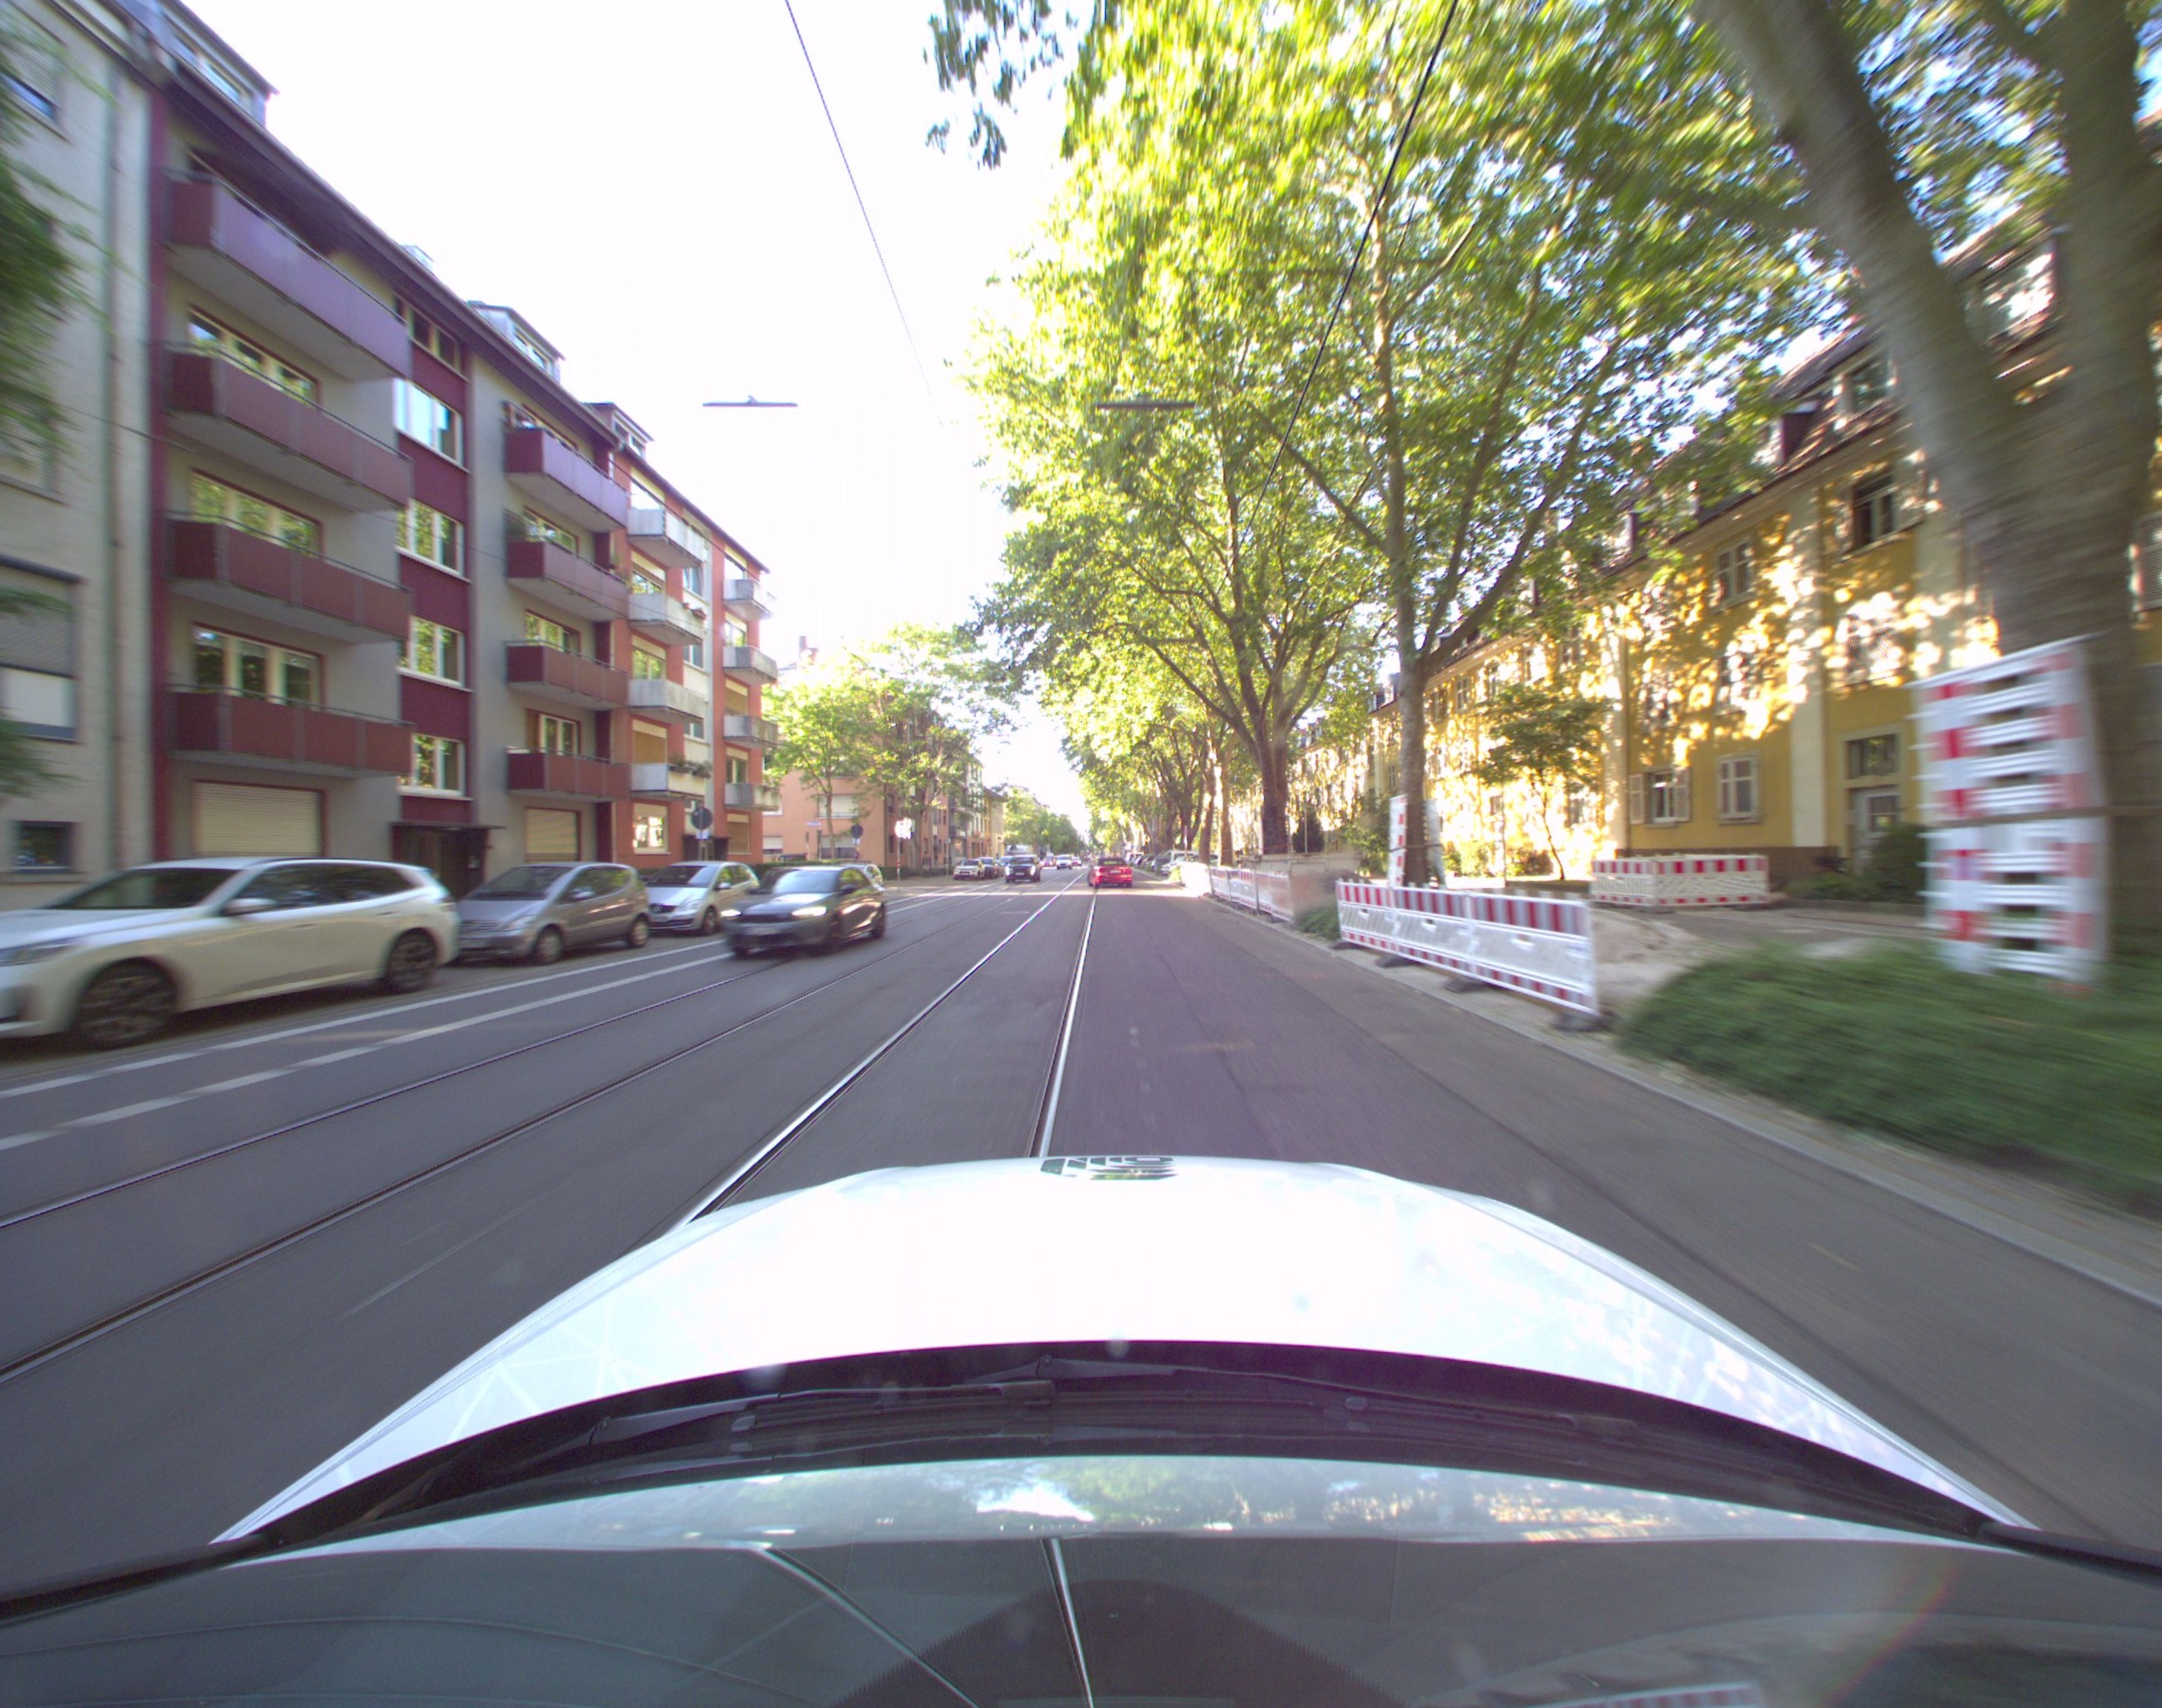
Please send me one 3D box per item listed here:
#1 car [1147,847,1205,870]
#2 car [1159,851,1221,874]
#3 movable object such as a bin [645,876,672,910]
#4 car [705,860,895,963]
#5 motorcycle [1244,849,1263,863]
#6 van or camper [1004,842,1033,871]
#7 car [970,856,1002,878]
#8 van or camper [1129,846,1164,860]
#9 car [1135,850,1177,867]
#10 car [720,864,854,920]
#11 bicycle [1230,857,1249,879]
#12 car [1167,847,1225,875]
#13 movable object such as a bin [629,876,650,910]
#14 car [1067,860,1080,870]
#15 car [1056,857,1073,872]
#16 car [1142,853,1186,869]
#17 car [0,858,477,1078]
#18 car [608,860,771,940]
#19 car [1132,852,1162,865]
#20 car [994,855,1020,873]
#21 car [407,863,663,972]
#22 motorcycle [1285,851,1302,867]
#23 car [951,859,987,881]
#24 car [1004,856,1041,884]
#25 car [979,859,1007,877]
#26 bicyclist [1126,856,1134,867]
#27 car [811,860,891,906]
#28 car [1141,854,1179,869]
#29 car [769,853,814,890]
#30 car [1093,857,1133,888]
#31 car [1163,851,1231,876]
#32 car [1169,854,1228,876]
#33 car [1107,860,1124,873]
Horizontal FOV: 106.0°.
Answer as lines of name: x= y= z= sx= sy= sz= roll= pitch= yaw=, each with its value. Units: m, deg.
car: x=8.384 y=0.404 z=71.926 sx=4.822 sy=1.963 sz=2.064 roll=-1 pitch=0 yaw=-1
car: x=7.782 y=0.600 z=58.461 sx=4.350 sy=1.542 sz=1.804 roll=-1 pitch=1 yaw=5
movable object such as a bin: x=-12.768 y=1.173 z=24.621 sx=0.541 sy=1.006 sz=0.442 roll=-2 pitch=0 yaw=3
car: x=-4.740 y=0.893 z=14.405 sx=1.789 sy=1.446 sz=4.054 roll=-2 pitch=0 yaw=2
motorcycle: x=18.784 y=0.212 z=88.556 sx=1.798 sy=1.361 sz=0.622 roll=-4 pitch=0 yaw=-2
van or camper: x=-6.838 y=0.235 z=89.971 sx=2.328 sy=3.041 sz=6.401 roll=2 pitch=0 yaw=2
car: x=-7.301 y=0.968 z=62.938 sx=1.775 sy=1.610 sz=4.588 roll=2 pitch=0 yaw=0
van or camper: x=10.839 y=-0.172 z=135.387 sx=5.543 sy=2.013 sz=2.242 roll=-1 pitch=2 yaw=-4
car: x=8.395 y=0.507 z=91.201 sx=4.475 sy=1.602 sz=2.030 roll=-3 pitch=-1 yaw=5
car: x=-8.449 y=1.033 z=23.956 sx=1.944 sy=1.395 sz=4.866 roll=1 pitch=0 yaw=2
bicycle: x=8.401 y=0.726 z=43.203 sx=0.688 sy=1.154 sz=1.949 roll=-1 pitch=0 yaw=2
car: x=7.929 y=0.482 z=56.432 sx=3.826 sy=1.772 sz=1.919 roll=-1 pitch=0 yaw=5
movable object such as a bin: x=-13.318 y=1.181 z=24.562 sx=0.431 sy=1.006 sz=0.352 roll=-2 pitch=0 yaw=3
car: x=-1.153 y=1.714 z=127.387 sx=1.769 sy=1.458 sz=4.203 roll=-2 pitch=0 yaw=1
car: x=-2.070 y=1.325 z=102.097 sx=1.885 sy=1.832 sz=4.896 roll=-1 pitch=0 yaw=1
car: x=8.240 y=0.679 z=80.833 sx=4.232 sy=1.483 sz=1.898 roll=-1 pitch=0 yaw=1
car: x=-9.118 y=0.875 z=8.484 sx=1.946 sy=1.648 sz=4.881 roll=0 pitch=0 yaw=0
car: x=-8.783 y=0.961 z=18.702 sx=1.814 sy=1.587 sz=4.004 roll=0 pitch=0 yaw=-1
car: x=8.957 y=0.639 z=111.338 sx=3.911 sy=1.670 sz=1.960 roll=-1 pitch=0 yaw=-1
car: x=-6.993 y=0.919 z=77.707 sx=1.946 sy=1.686 sz=5.071 roll=1 pitch=0 yaw=0
car: x=-8.933 y=0.943 z=13.773 sx=1.619 sy=1.572 sz=3.784 roll=0 pitch=0 yaw=3
motorcycle: x=15.111 y=0.349 z=57.960 sx=0.712 sy=1.153 sz=2.265 roll=-2 pitch=0 yaw=2
car: x=-7.827 y=1.107 z=57.382 sx=1.799 sy=1.478 sz=4.092 roll=1 pitch=0 yaw=2
car: x=-3.514 y=0.925 z=49.697 sx=1.847 sy=1.600 sz=4.463 roll=-1 pitch=0 yaw=0
car: x=-7.324 y=1.167 z=68.090 sx=1.732 sy=1.401 sz=4.383 roll=1 pitch=0 yaw=0
bicyclist: x=7.749 y=1.189 z=128.077 sx=1.045 sy=1.705 sz=1.055 roll=-1 pitch=0 yaw=-8
car: x=-8.197 y=1.005 z=29.366 sx=1.719 sy=1.483 sz=3.930 roll=1 pitch=0 yaw=0
car: x=8.233 y=0.797 z=84.741 sx=3.824 sy=1.509 sz=1.711 roll=-1 pitch=0 yaw=1
car: x=-17.673 y=1.039 z=49.574 sx=2.004 sy=2.123 sz=4.681 roll=0 pitch=-1 yaw=-27
car: x=1.527 y=0.840 z=38.960 sx=1.785 sy=1.389 sz=4.238 roll=0 pitch=0 yaw=2
car: x=7.393 y=0.610 z=52.157 sx=4.074 sy=1.521 sz=1.916 roll=-1 pitch=-1 yaw=0
car: x=7.818 y=0.725 z=54.469 sx=3.826 sy=1.433 sz=1.854 roll=-1 pitch=0 yaw=5
car: x=4.247 y=1.538 z=101.037 sx=1.911 sy=1.584 sz=3.792 roll=-2 pitch=0 yaw=1
